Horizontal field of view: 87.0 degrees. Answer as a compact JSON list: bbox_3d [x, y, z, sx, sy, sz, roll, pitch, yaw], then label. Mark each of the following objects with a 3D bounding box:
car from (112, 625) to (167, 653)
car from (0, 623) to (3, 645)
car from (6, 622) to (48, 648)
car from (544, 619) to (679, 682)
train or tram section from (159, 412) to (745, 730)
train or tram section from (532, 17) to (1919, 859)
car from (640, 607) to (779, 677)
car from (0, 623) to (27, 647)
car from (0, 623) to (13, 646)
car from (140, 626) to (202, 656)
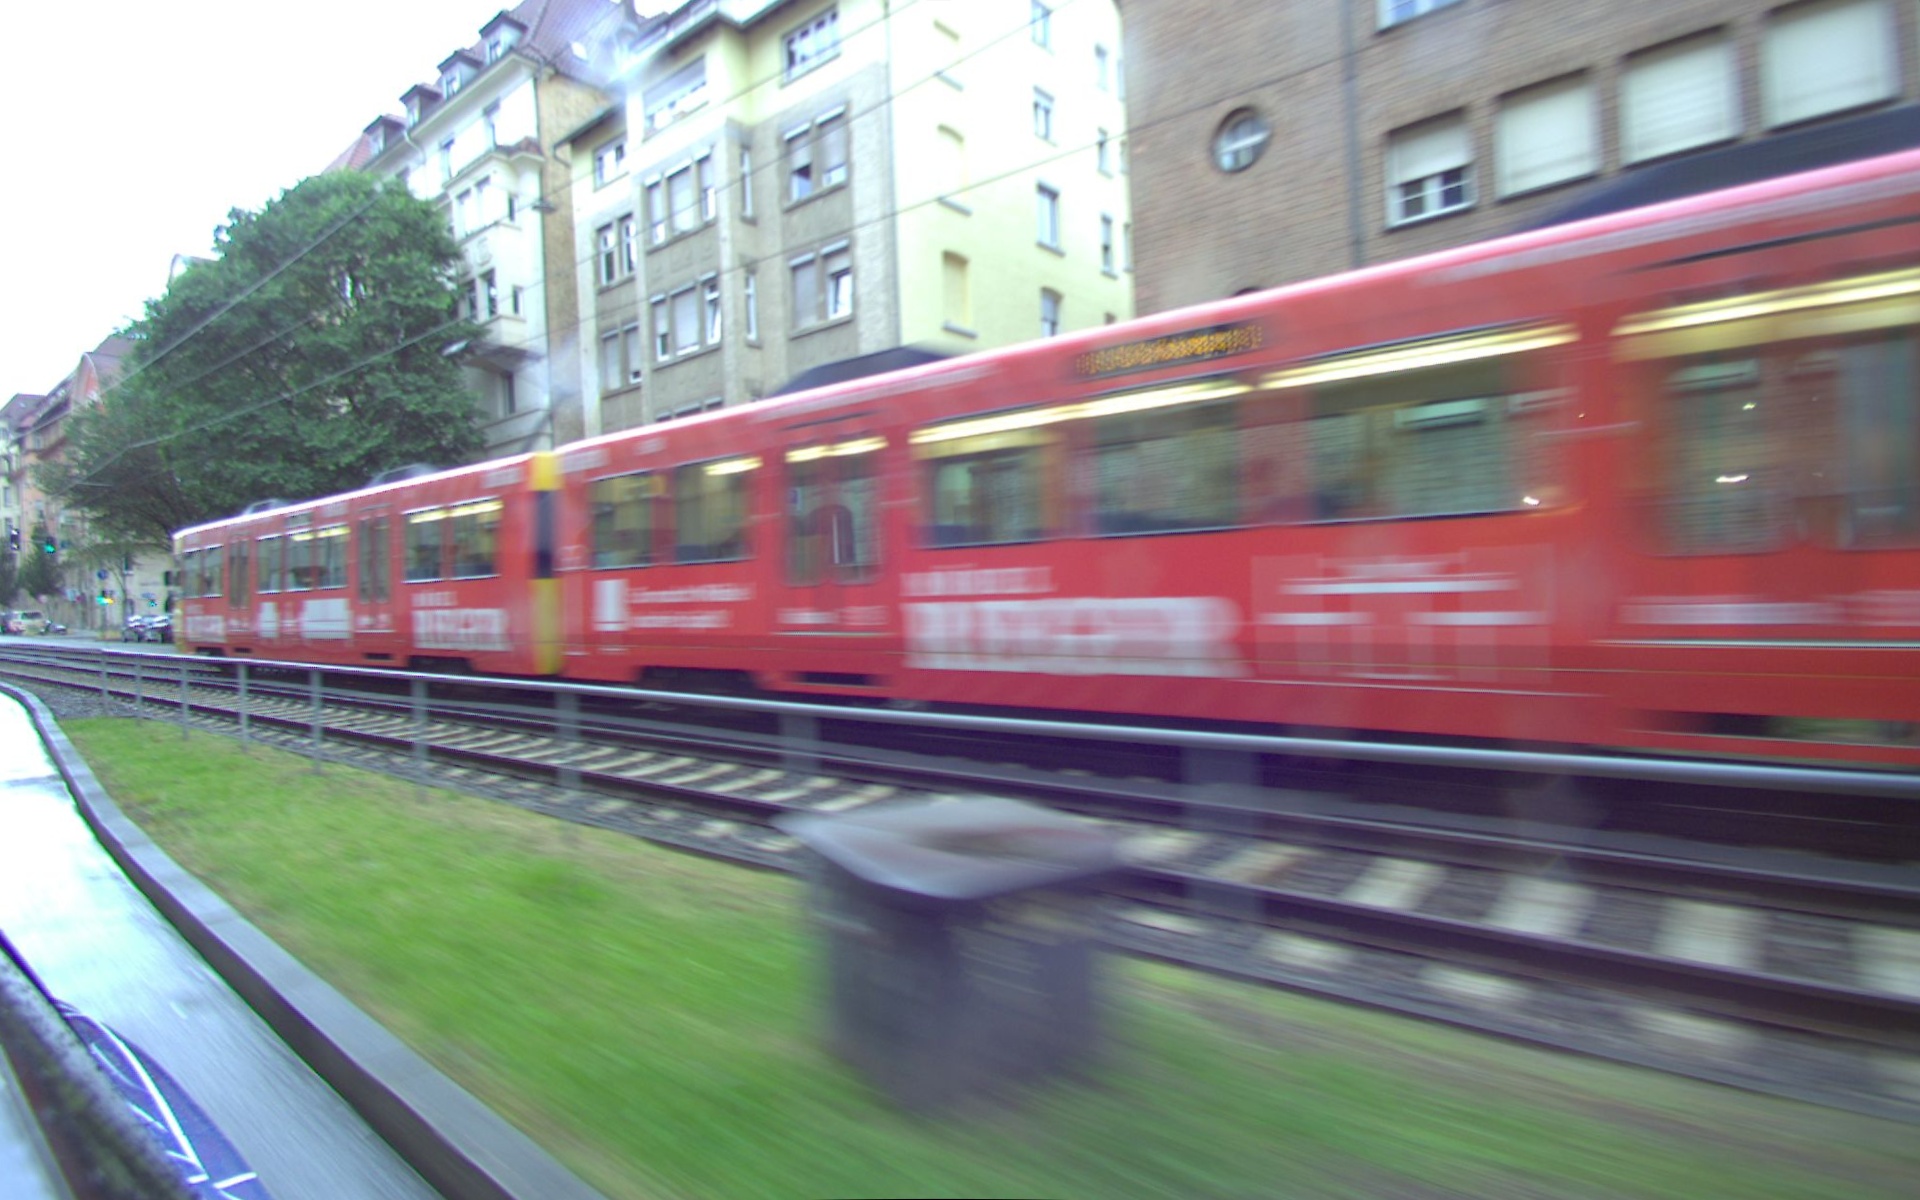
[{"bbox_3d":[-46.210,2.177,56.990,4.162,1.501,1.628,-2,-1,40],"label":"car"},{"bbox_3d":[-90.740,3.199,94.216,3.997,1.985,1.973,-2,-1,40],"label":"car"},{"bbox_3d":[-75.343,2.813,81.711,3.997,1.985,1.973,-2,-1,40],"label":"car"},{"bbox_3d":[-8.774,1.231,25.350,3.631,1.414,1.627,-2,-1,42],"label":"car"},{"bbox_3d":[-11.423,-0.195,19.790,19.279,3.950,2.688,-1,0,40],"label":"train or tram section"},{"bbox_3d":[2.990,-0.714,7.768,19.843,3.950,2.688,-1,0,40],"label":"train or tram section"},{"bbox_3d":[-5.797,0.950,23.335,3.110,1.477,1.627,-2,-1,41],"label":"car"},{"bbox_3d":[-81.284,2.962,86.323,3.997,1.985,1.973,-2,-1,40],"label":"car"},{"bbox_3d":[-86.769,3.099,90.937,3.997,1.985,1.973,-2,-1,40],"label":"car"},{"bbox_3d":[-41.414,2.117,53.104,4.162,1.445,1.697,-1,0,40],"label":"car"}]
